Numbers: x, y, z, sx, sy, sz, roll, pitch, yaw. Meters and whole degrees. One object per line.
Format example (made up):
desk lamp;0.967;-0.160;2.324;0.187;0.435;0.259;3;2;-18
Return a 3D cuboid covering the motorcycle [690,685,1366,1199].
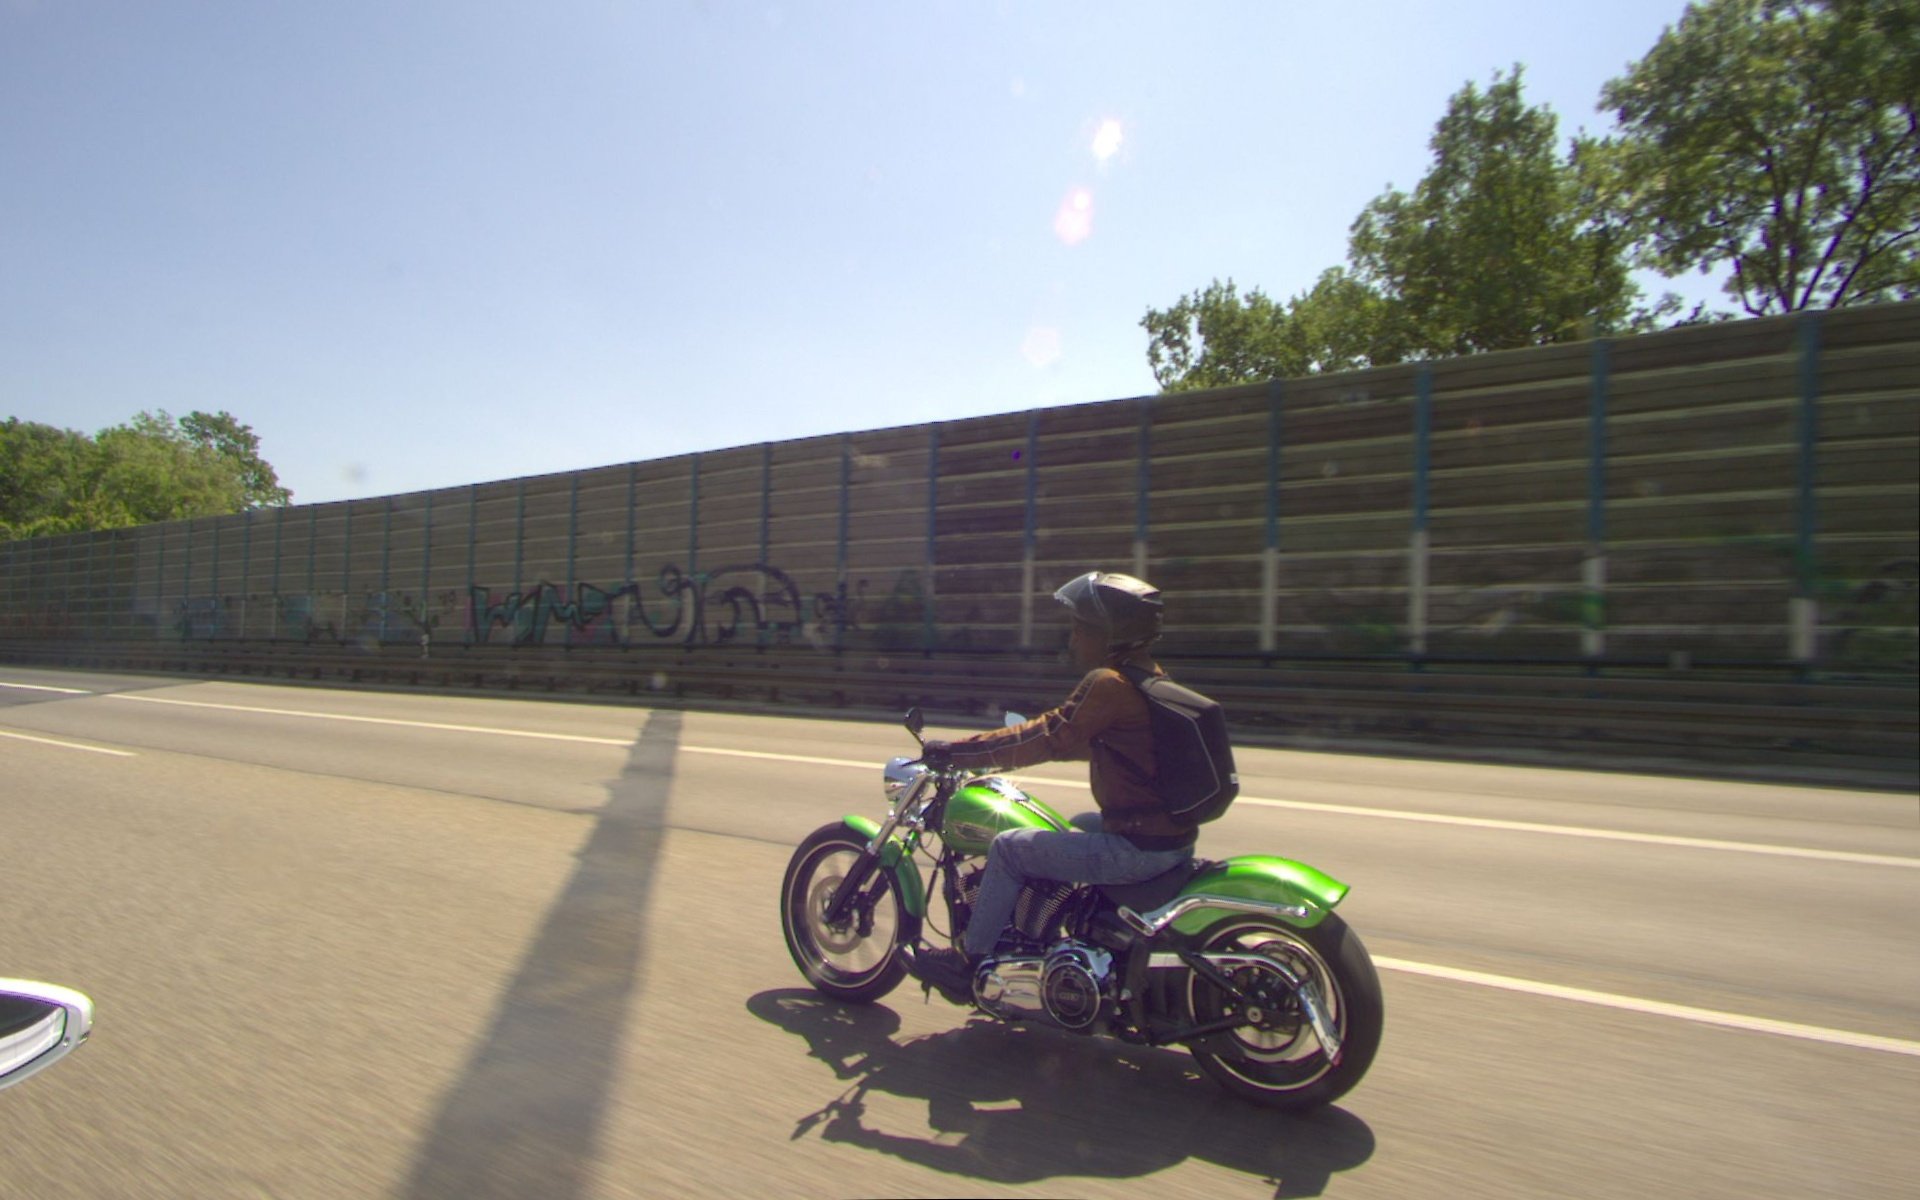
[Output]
motorcycle;0.151;0.964;3.523;2.245;1.197;0.858;0;-1;34

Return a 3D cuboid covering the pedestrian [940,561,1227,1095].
pedestrian;0.438;0.652;3.346;0.629;1.498;0.850;0;-1;33
